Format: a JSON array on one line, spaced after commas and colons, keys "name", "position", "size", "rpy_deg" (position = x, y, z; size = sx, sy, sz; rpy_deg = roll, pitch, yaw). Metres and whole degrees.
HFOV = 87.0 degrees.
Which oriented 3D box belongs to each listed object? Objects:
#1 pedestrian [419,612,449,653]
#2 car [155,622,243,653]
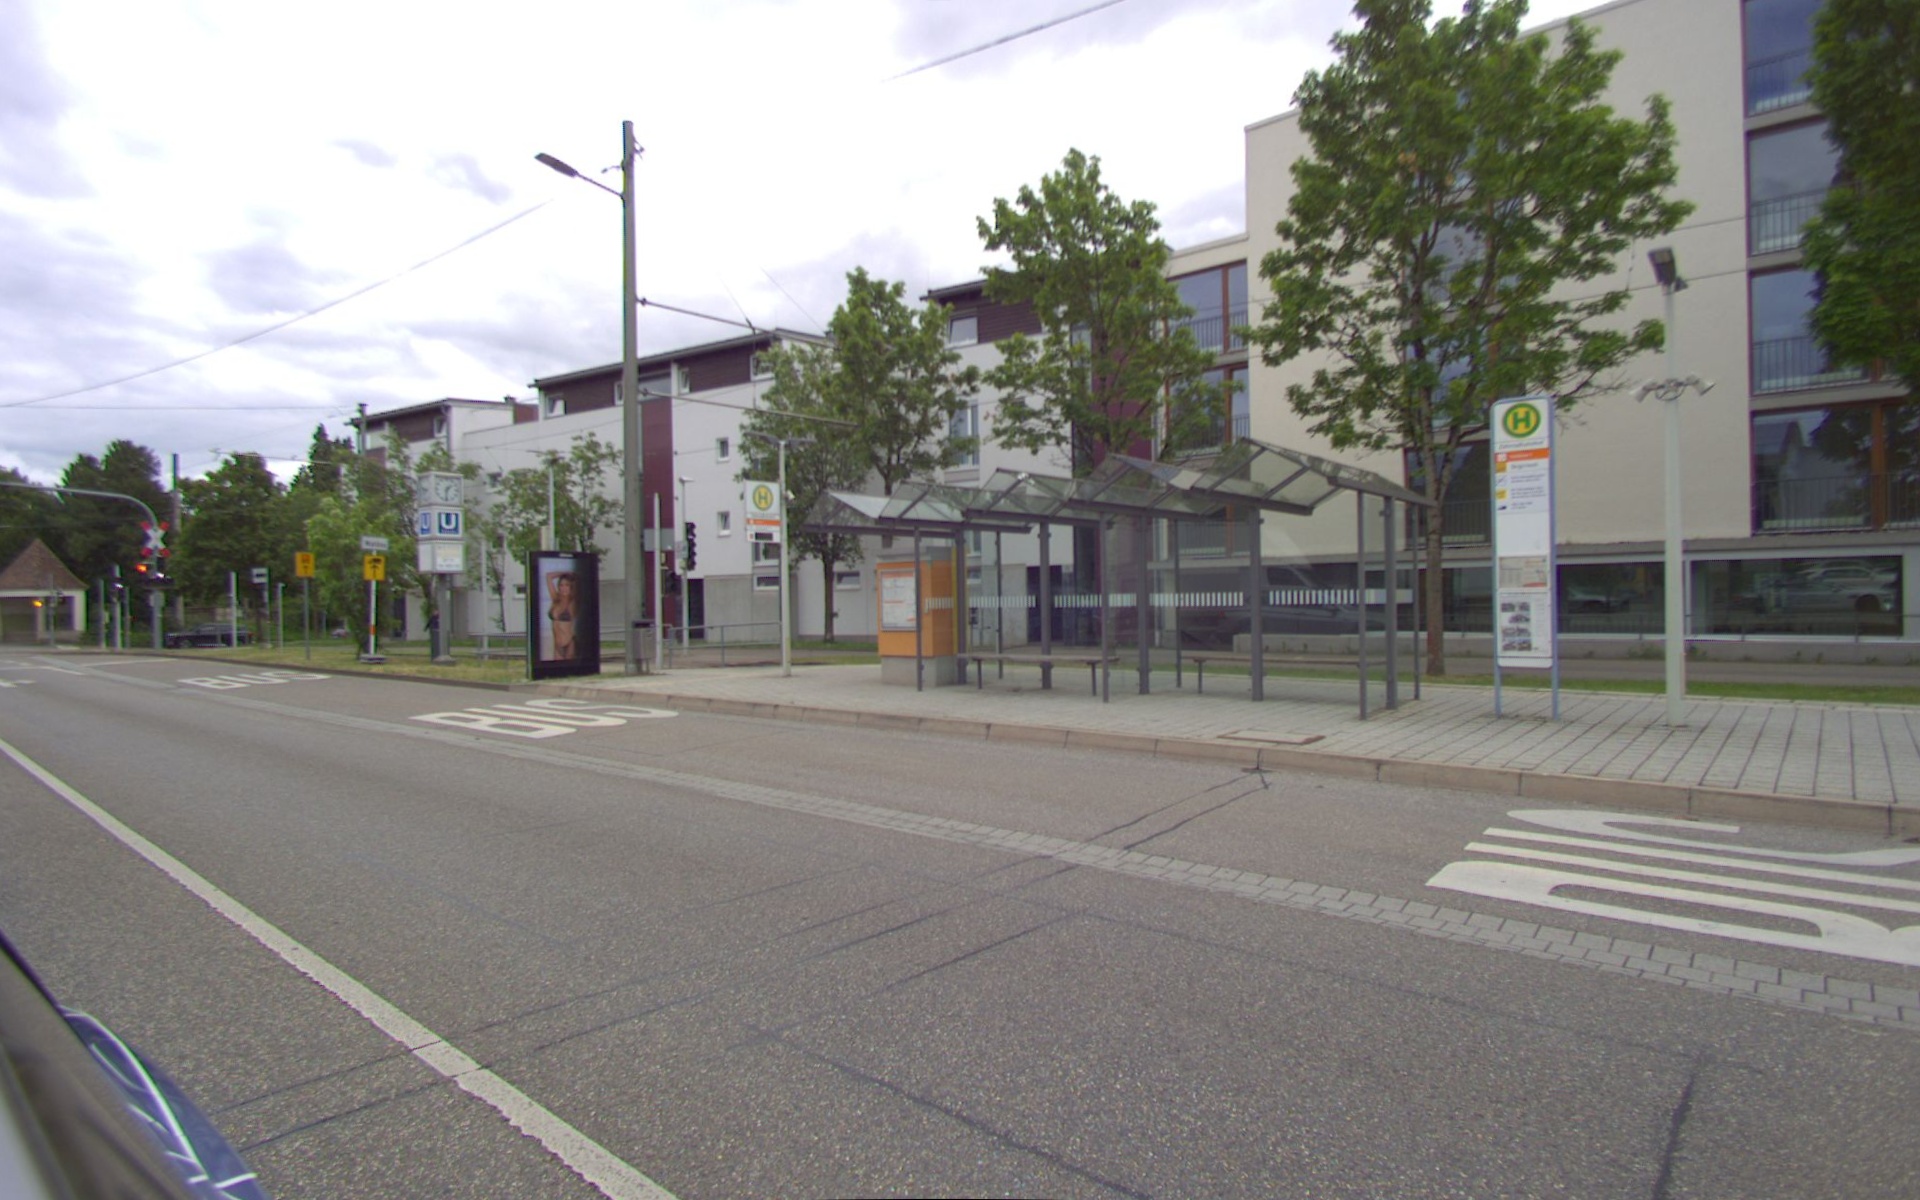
[{"name": "pedestrian", "position": [-21.222, 1.292, 40.843], "size": [0.778, 1.607, 0.773], "rpy_deg": [-1, 0, 32]}, {"name": "car", "position": [-46.469, 2.269, 61.851], "size": [1.925, 1.719, 3.950], "rpy_deg": [-1, 0, 37]}]
